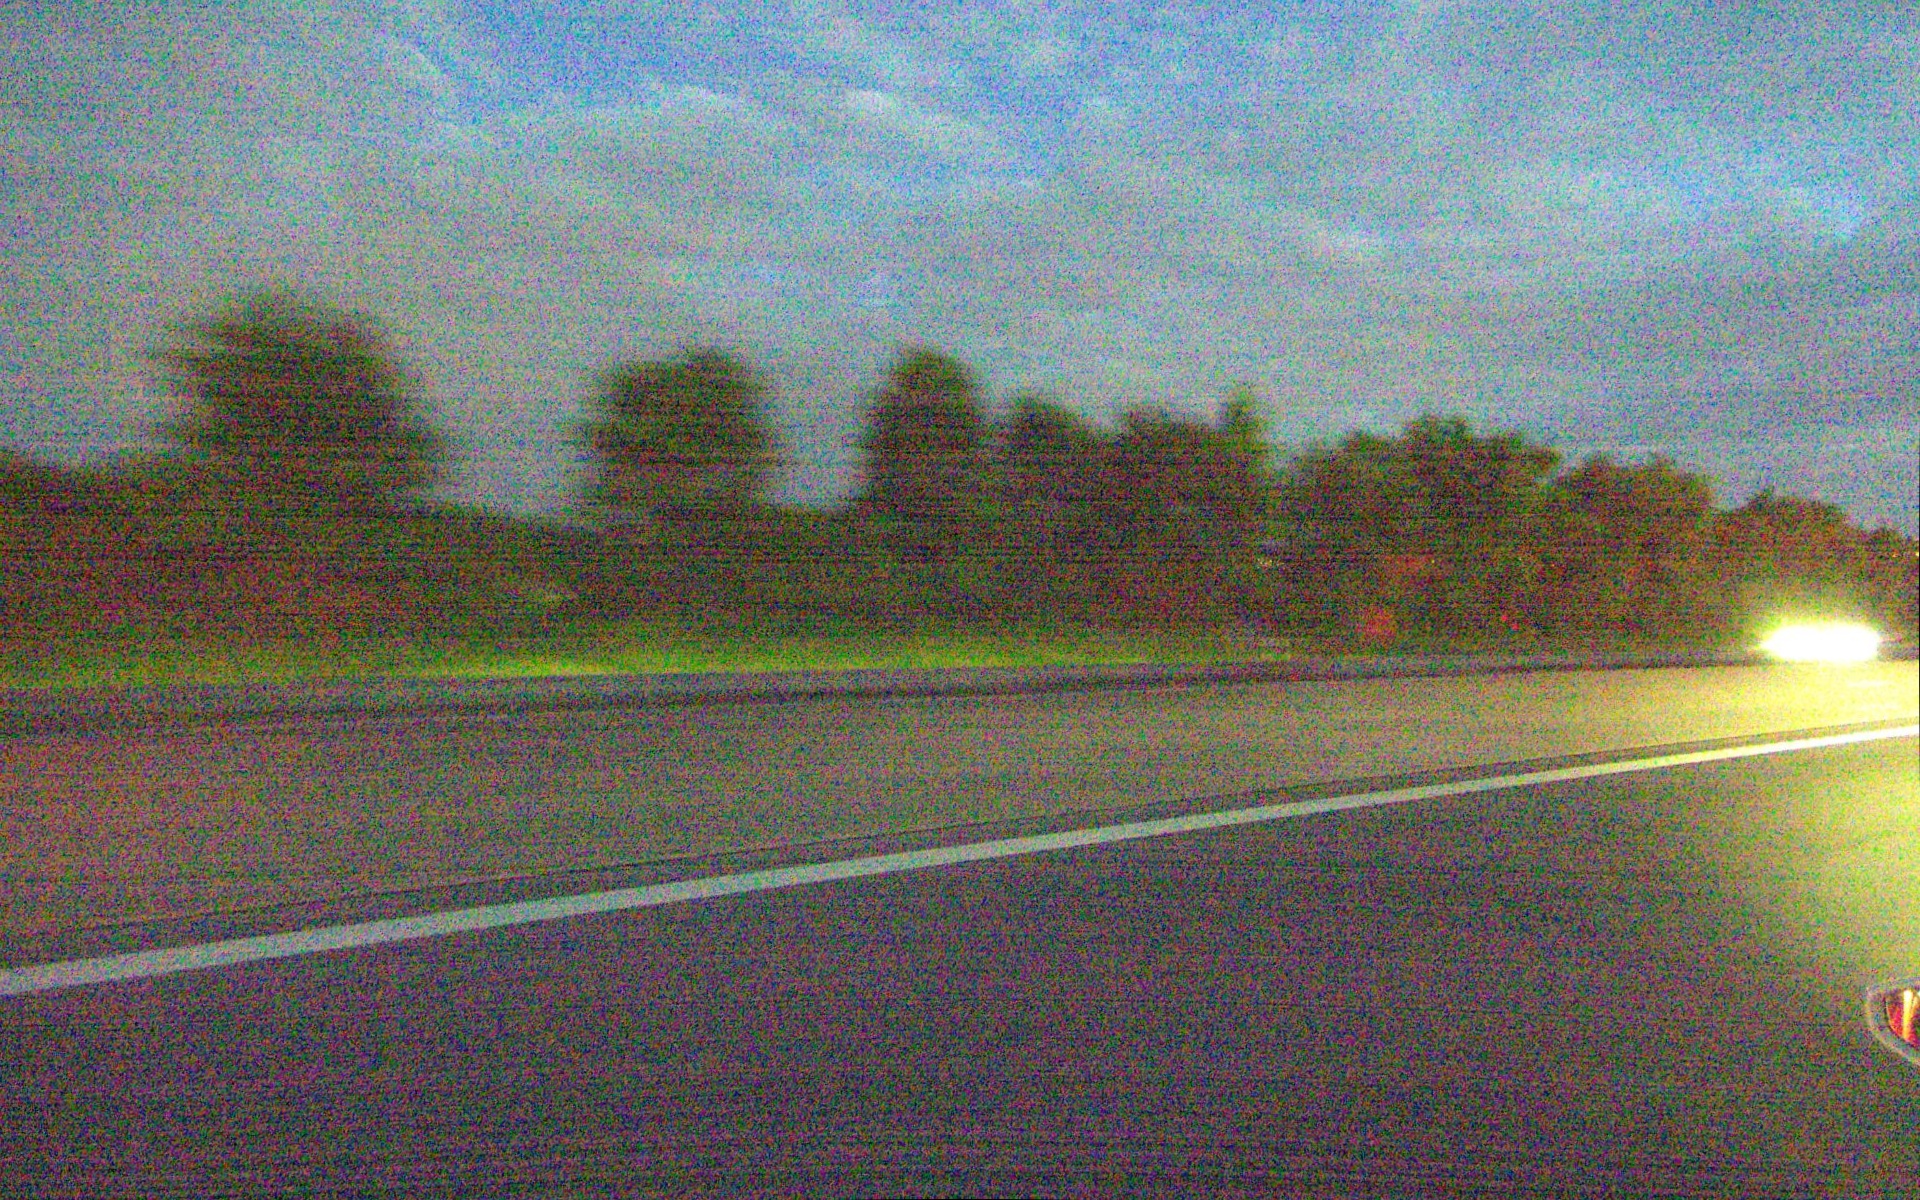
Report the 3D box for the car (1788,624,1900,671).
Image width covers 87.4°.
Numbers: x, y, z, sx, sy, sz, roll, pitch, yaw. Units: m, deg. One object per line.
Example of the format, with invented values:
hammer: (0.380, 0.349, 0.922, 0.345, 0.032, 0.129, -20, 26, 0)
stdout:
car: (32.267, 1.696, 36.637, 4.355, 1.639, 1.893, 1, -1, -32)
